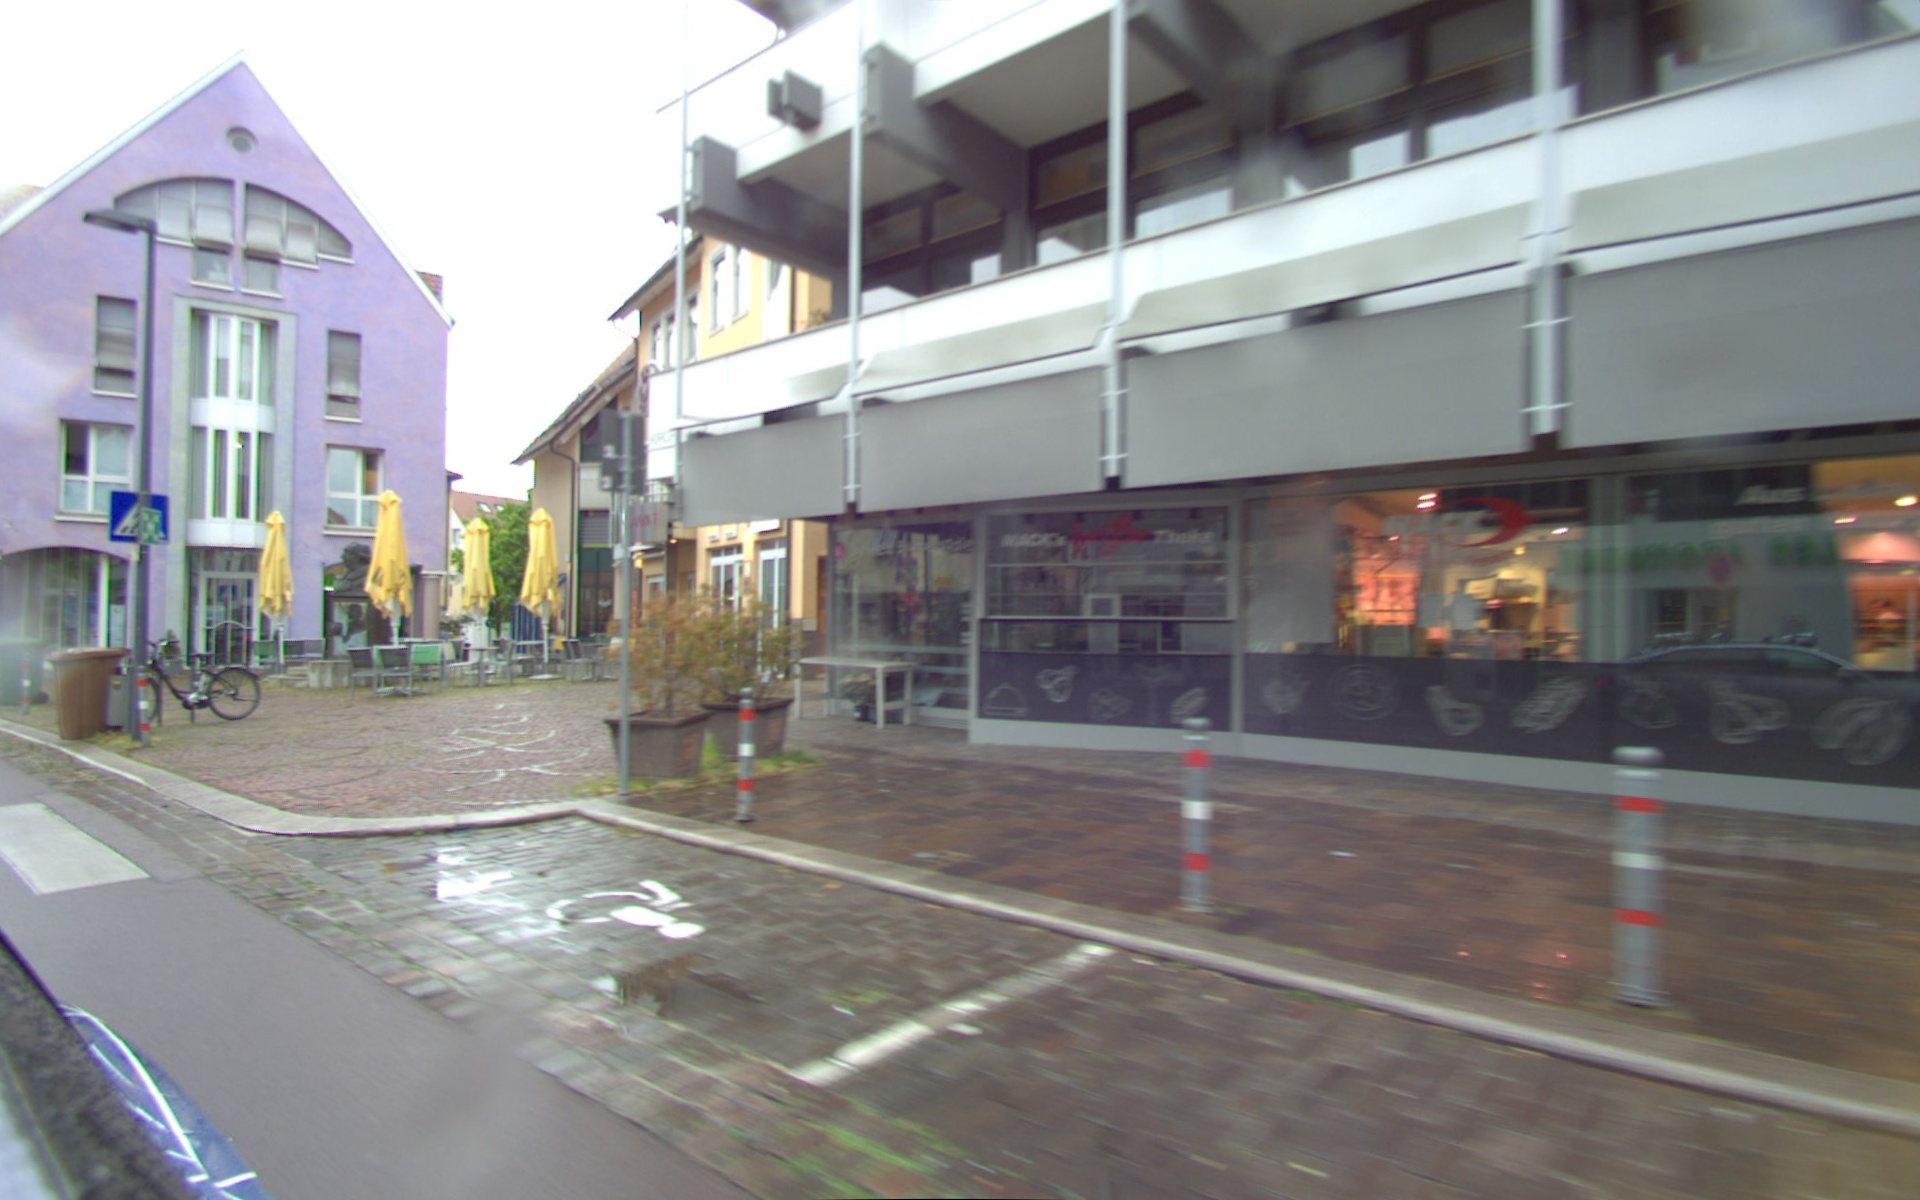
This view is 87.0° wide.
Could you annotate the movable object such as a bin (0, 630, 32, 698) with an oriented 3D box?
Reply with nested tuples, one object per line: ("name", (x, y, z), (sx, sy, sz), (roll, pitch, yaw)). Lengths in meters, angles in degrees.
("movable object such as a bin", (-15.797, 1.049, 16.602), (0.667, 1.084, 0.681), (0, -1, 31))

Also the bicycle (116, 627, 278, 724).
("bicycle", (-10.118, 0.966, 13.499), (0.441, 1.173, 1.740), (2, 0, 20))

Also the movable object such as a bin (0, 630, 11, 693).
("movable object such as a bin", (-16.878, 1.061, 17.371), (0.667, 1.082, 0.681), (0, -1, 31))

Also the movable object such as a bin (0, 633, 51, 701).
("movable object such as a bin", (-15.164, 1.059, 16.249), (0.667, 1.050, 0.681), (0, -1, 31))

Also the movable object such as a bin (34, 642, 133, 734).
("movable object such as a bin", (-10.486, 1.035, 12.120), (0.628, 1.028, 0.683), (0, -1, 23))
